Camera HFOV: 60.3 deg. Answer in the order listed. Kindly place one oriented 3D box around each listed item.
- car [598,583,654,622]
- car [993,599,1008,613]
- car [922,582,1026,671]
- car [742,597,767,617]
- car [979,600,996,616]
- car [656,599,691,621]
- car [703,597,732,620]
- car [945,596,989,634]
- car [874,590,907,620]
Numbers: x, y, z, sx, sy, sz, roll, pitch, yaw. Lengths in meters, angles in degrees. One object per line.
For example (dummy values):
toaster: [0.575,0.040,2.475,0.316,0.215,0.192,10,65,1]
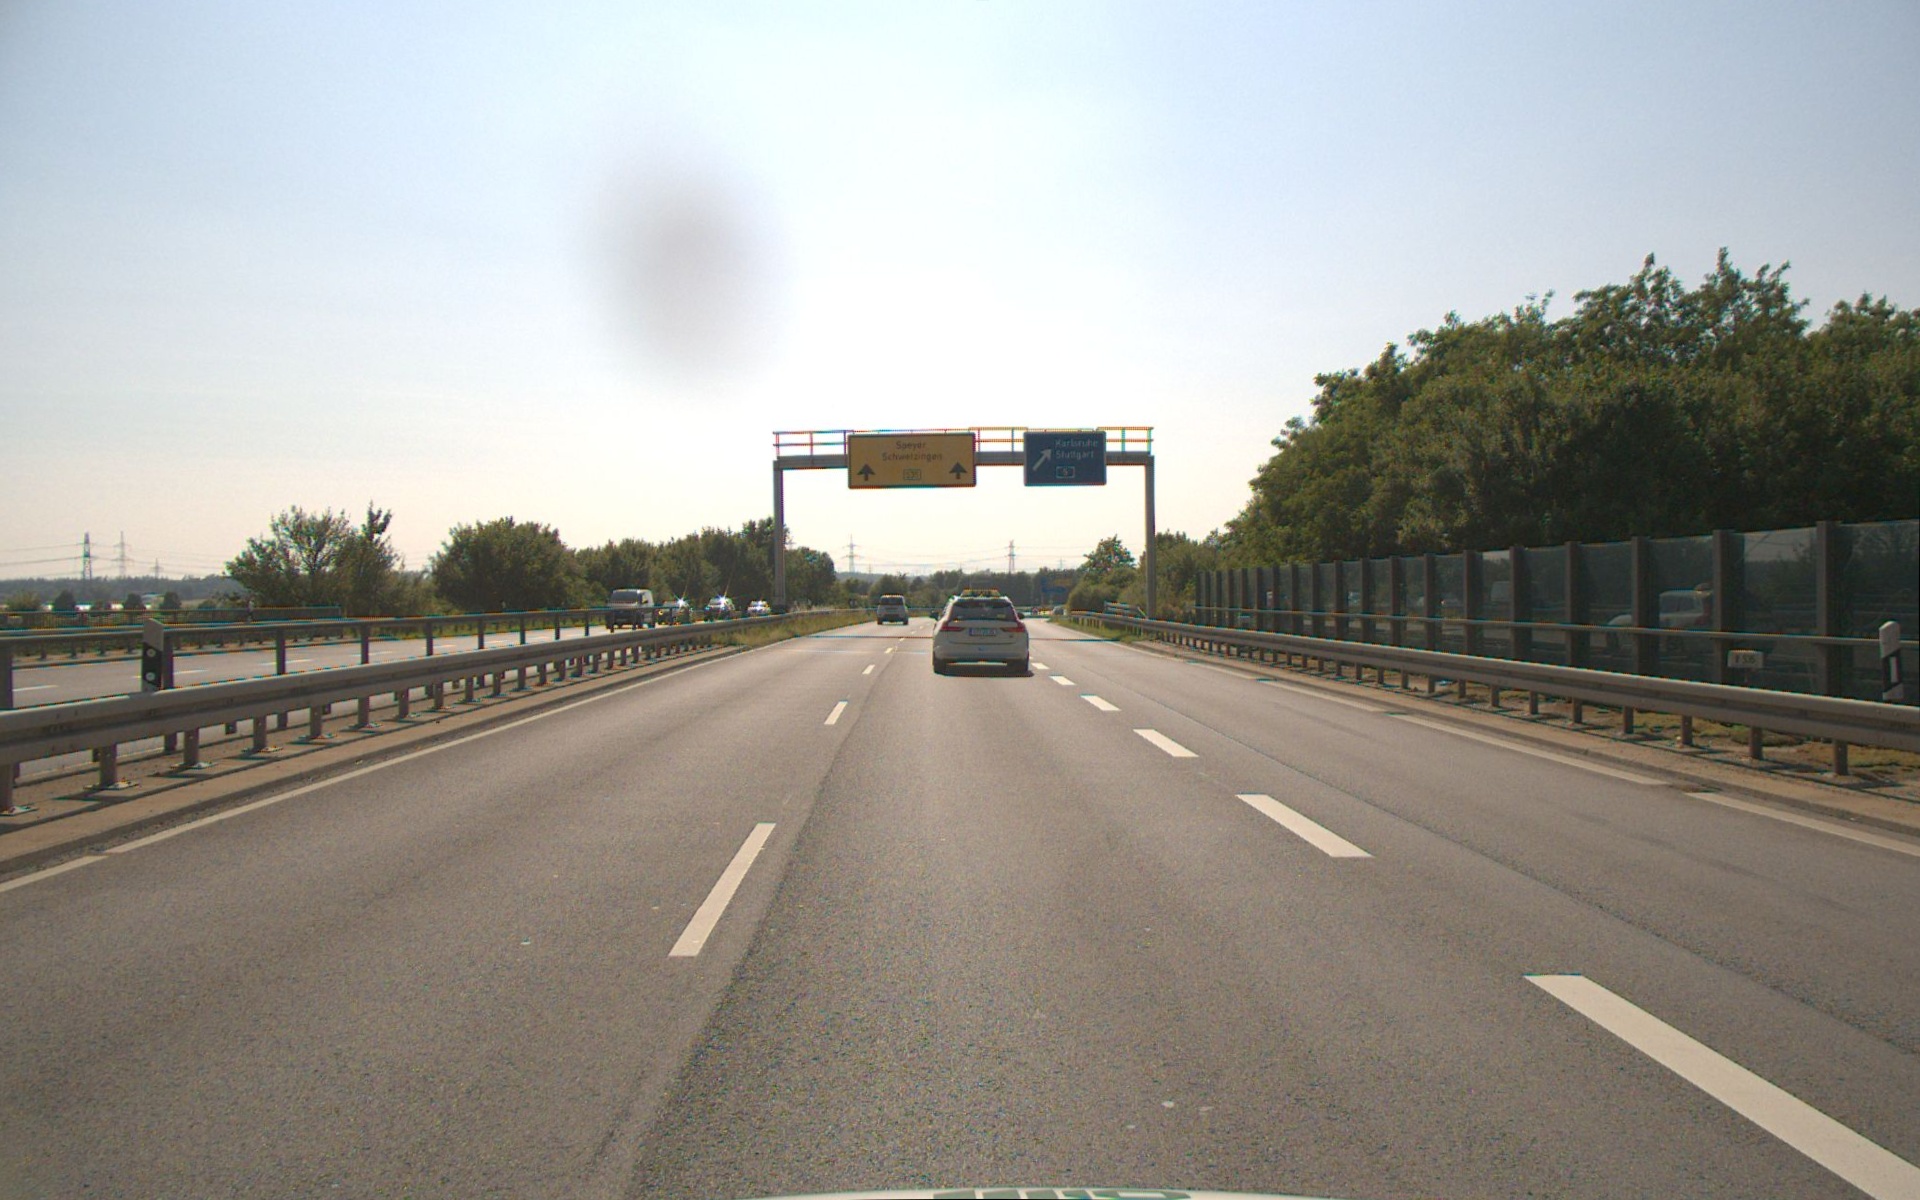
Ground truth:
car: [-17.085,0.098,84.798,1.953,1.939,4.417,0,0,0]
car: [5.155,0.786,212.758,1.804,1.728,3.999,0,0,-1]
car: [0.222,0.471,32.899,1.918,1.629,4.106,1,1,-1]
car: [-18.001,0.597,145.281,1.864,1.648,4.626,1,0,-4]
car: [3.083,0.909,186.105,1.804,1.834,3.999,0,0,-1]
car: [-17.179,0.589,99.261,1.534,1.292,3.714,0,1,-2]
car: [-17.429,0.599,119.018,1.698,1.645,4.001,0,1,-2]
car: [0.275,0.625,70.932,1.757,1.570,3.670,0,0,-2]
car: [-3.746,0.270,89.635,1.757,1.529,4.041,0,0,-2]
